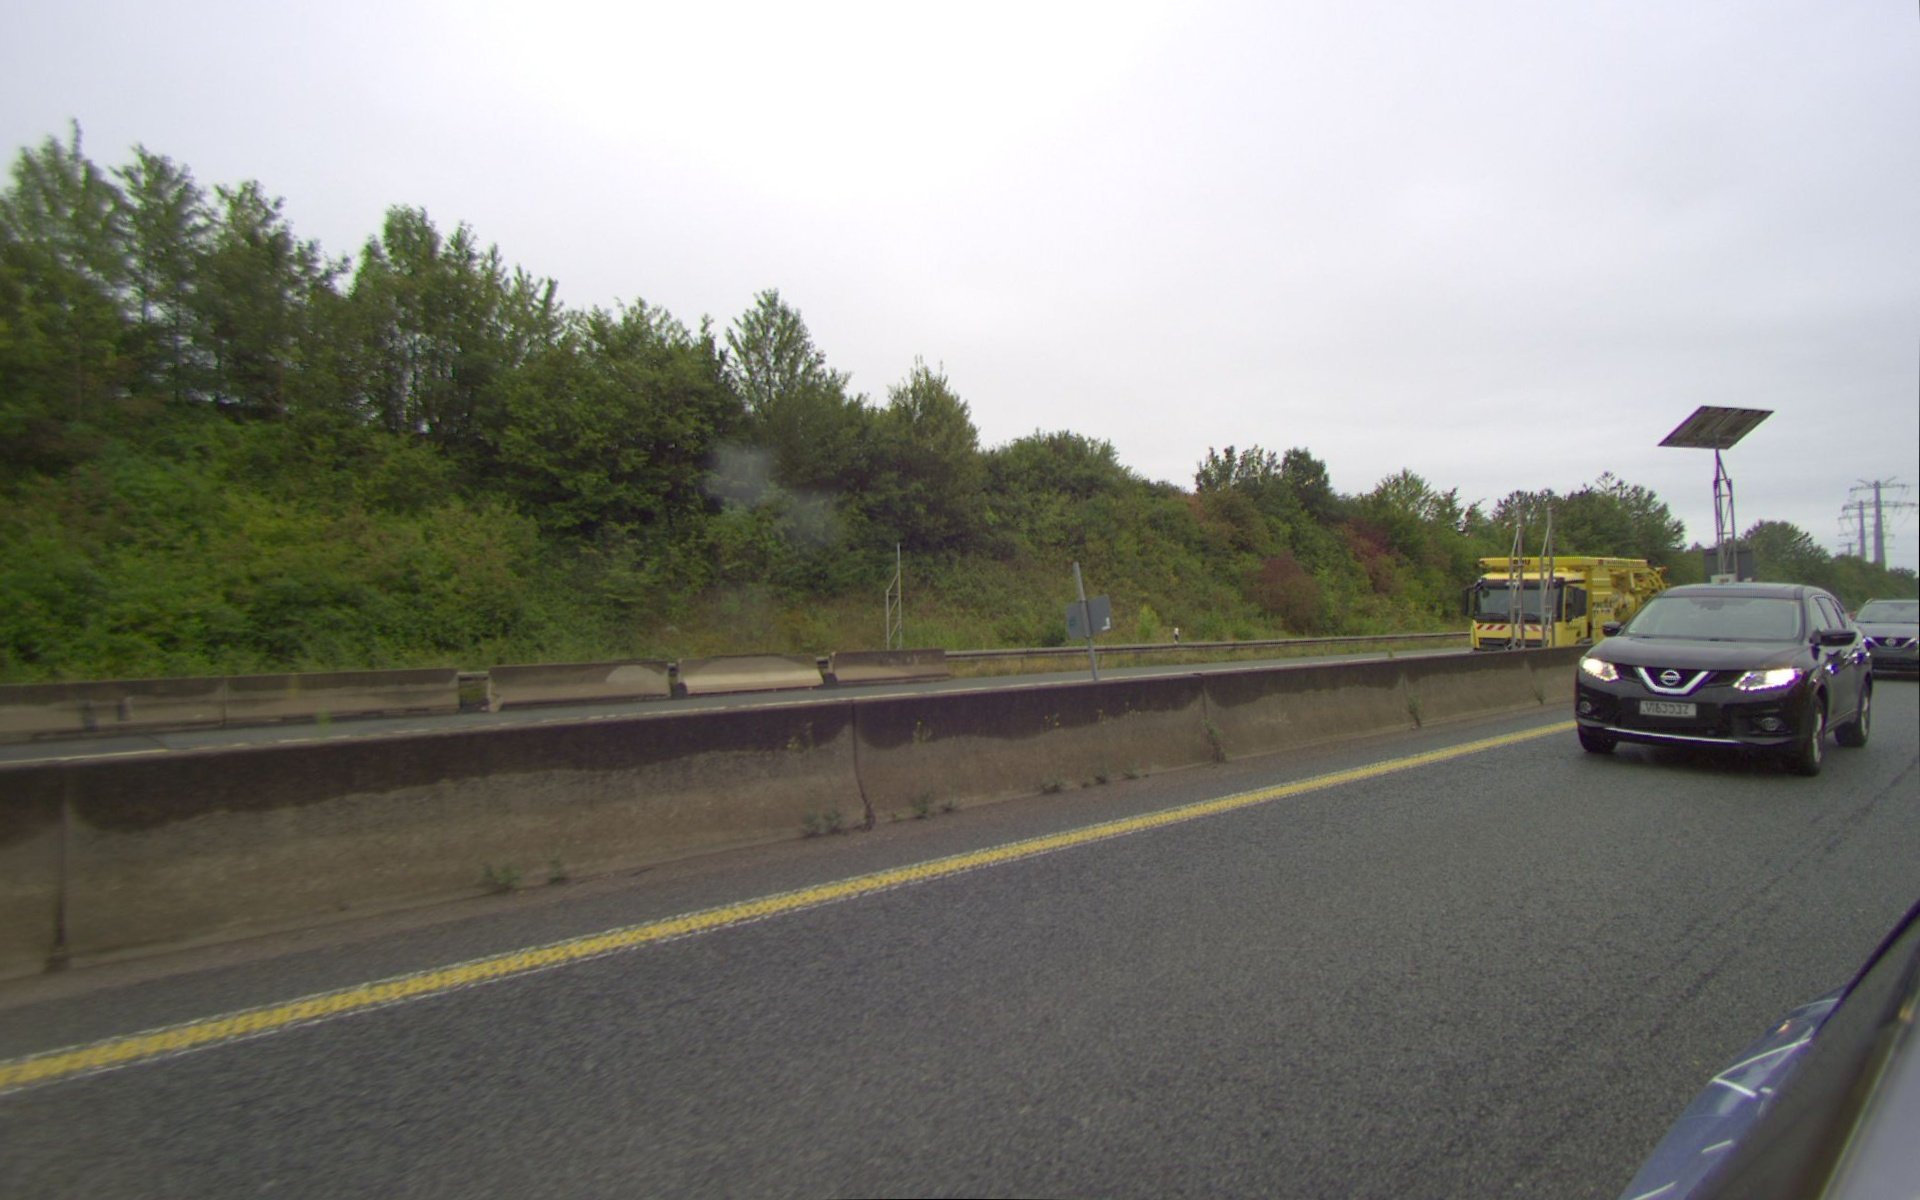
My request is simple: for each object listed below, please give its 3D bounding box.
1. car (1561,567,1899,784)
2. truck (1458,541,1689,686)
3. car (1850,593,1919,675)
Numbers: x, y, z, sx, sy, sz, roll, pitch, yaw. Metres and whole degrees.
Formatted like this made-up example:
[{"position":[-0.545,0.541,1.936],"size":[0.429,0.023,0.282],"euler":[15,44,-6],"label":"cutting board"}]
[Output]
[{"position":[7.862,0.565,10.157],"size":[4.561,1.696,1.892],"euler":[-1,1,-42],"label":"car"},{"position":[17.375,0.272,28.298],"size":[9.405,3.467,2.618],"euler":[-1,0,-40],"label":"truck"},{"position":[19.357,0.619,20.317],"size":[4.053,1.509,1.782],"euler":[-1,1,-42],"label":"car"}]
